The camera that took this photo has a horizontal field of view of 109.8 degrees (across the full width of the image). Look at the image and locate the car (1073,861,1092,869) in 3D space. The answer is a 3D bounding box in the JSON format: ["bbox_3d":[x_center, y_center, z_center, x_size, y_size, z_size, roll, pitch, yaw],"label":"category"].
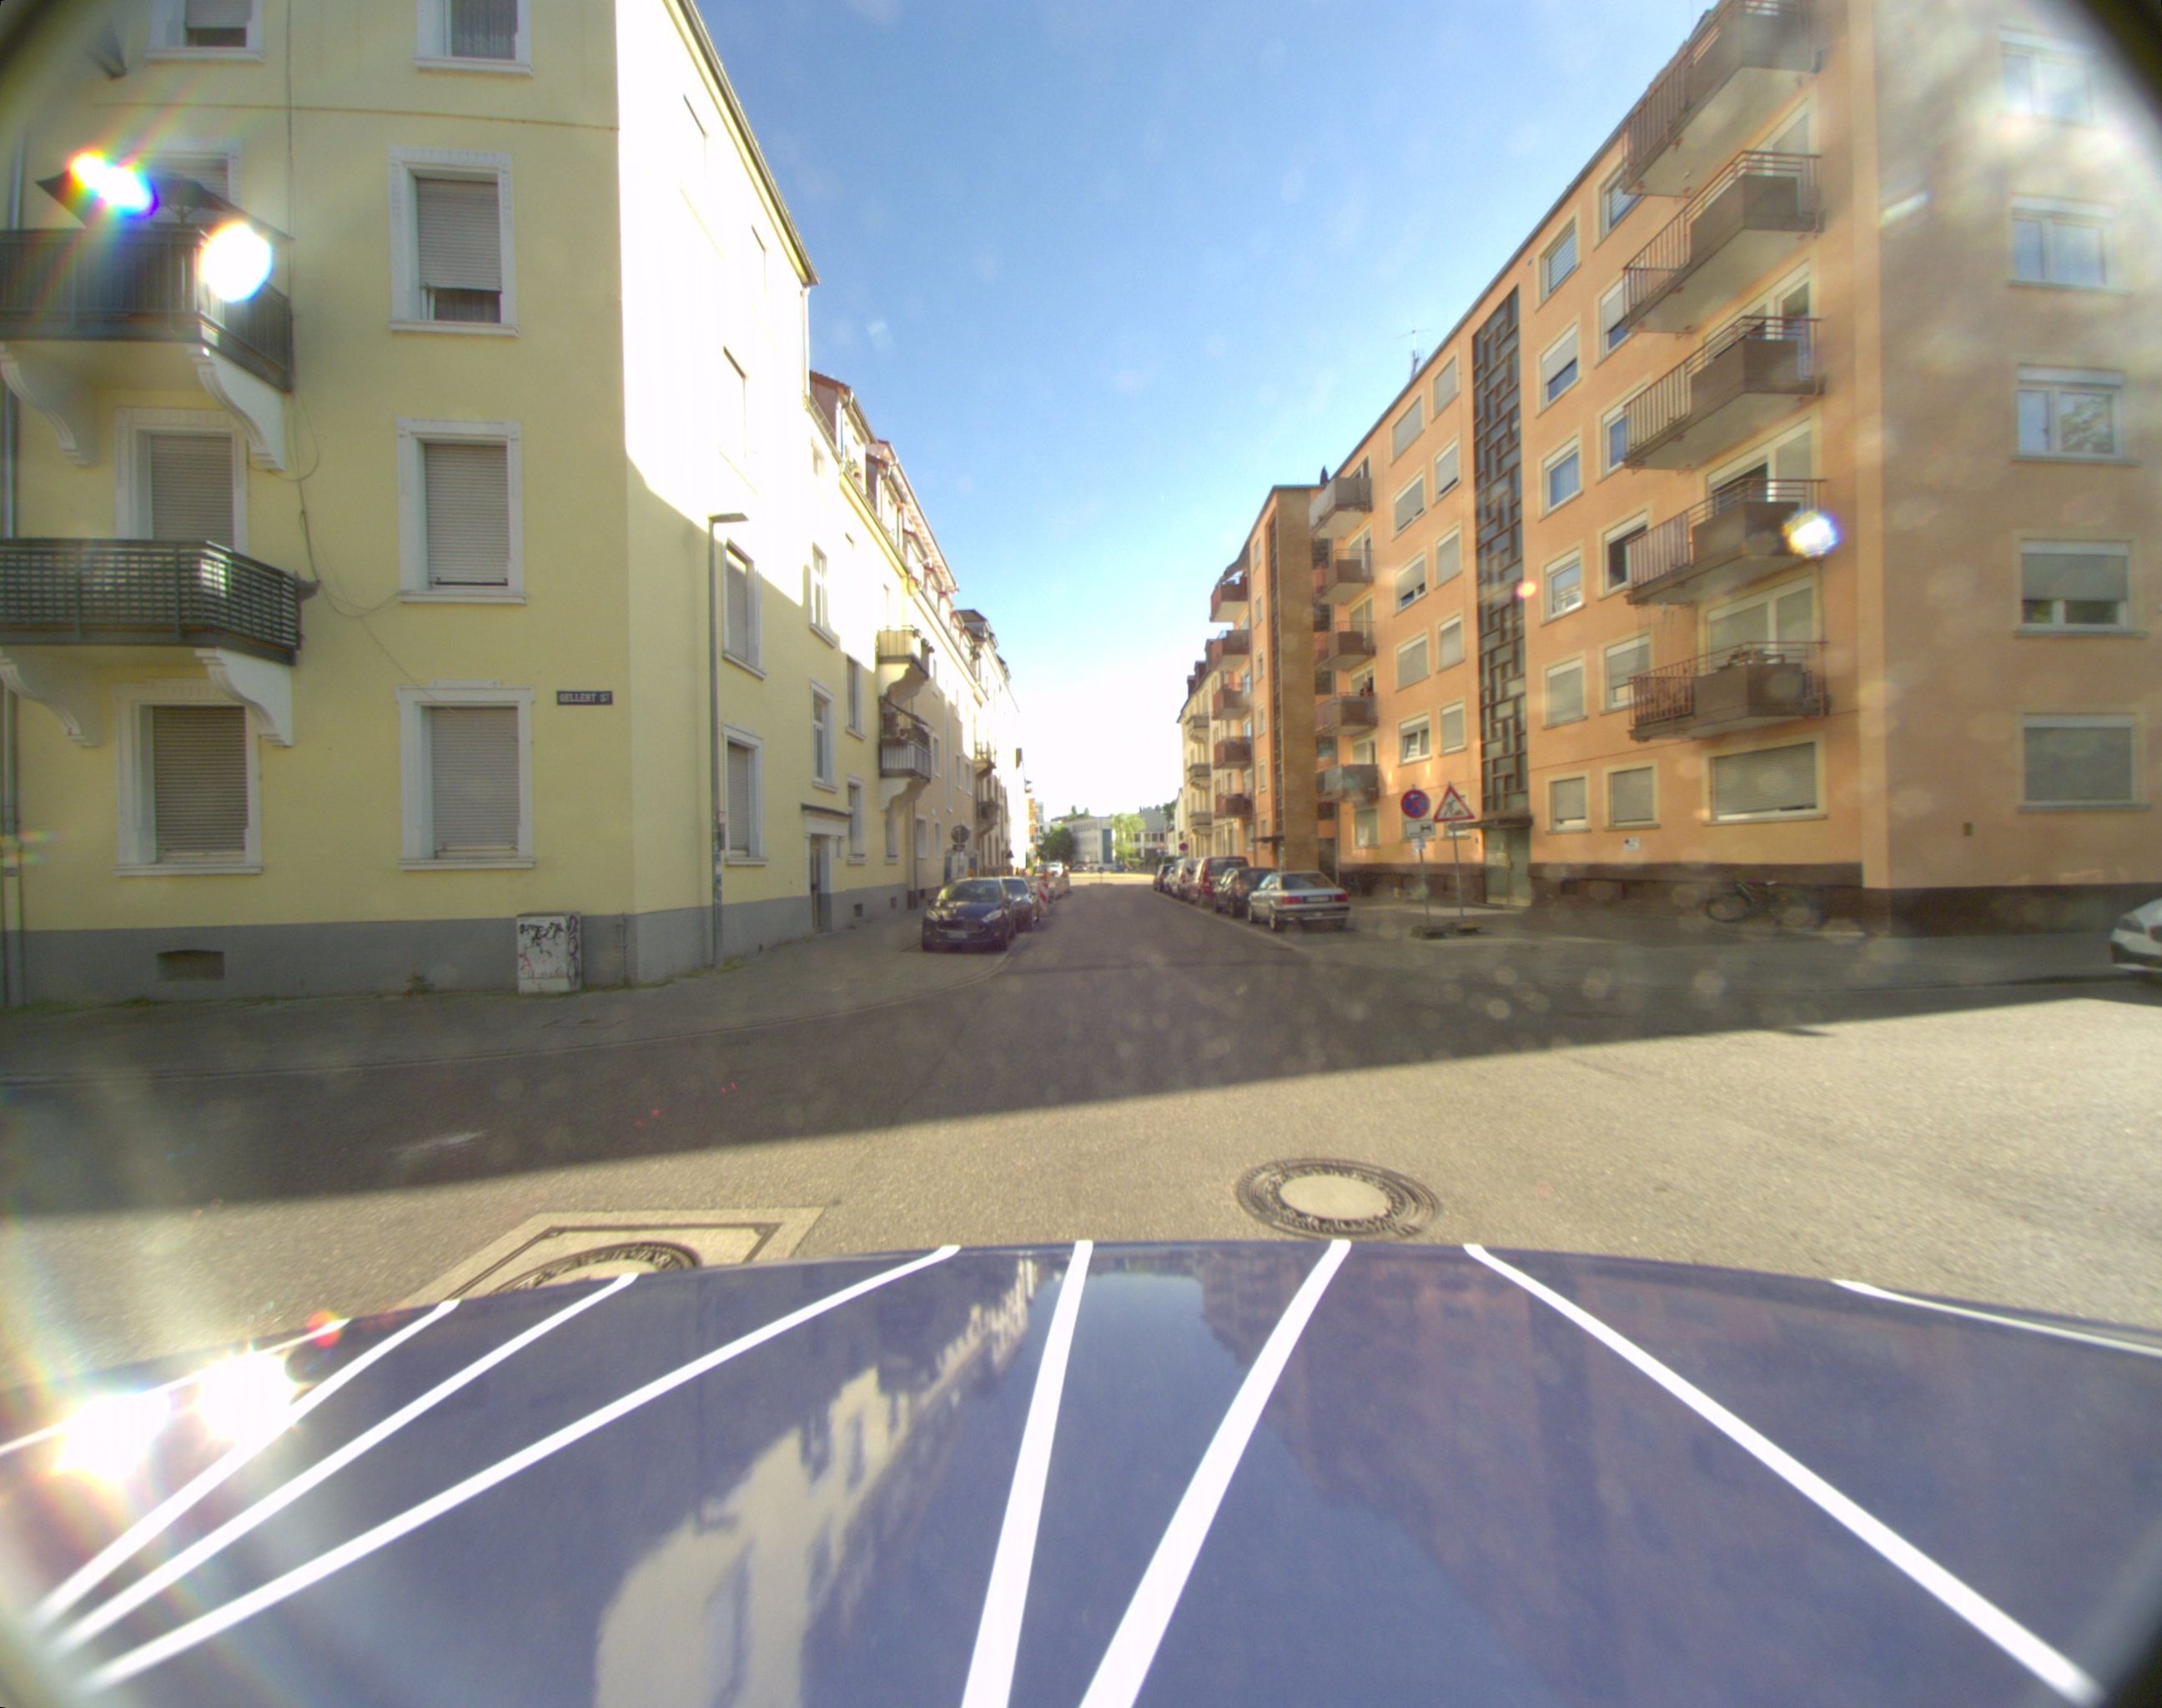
[{"bbox_3d":[0.347,2.307,156.687,2.141,1.604,4.827,-3,0,-22],"label":"car"}]

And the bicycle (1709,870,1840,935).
[{"bbox_3d":[12.518,0.841,13.798,0.505,1.057,1.892,-4,0,-4],"label":"bicycle"}]

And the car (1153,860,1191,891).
[{"bbox_3d":[5.446,1.250,45.930,1.767,1.760,4.294,-2,0,0],"label":"car"}]

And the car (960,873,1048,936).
[{"bbox_3d":[-2.056,1.335,21.611,1.805,1.462,5.113,1,-1,2],"label":"car"}]

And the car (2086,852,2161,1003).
[{"bbox_3d":[13.580,0.725,7.900,4.447,1.583,1.726,-1,-1,-6],"label":"car"}]

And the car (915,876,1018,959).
[{"bbox_3d":[-2.334,1.269,16.407,1.767,1.462,4.084,1,-1,-3],"label":"car"}]

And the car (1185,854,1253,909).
[{"bbox_3d":[5.297,1.005,29.781,1.767,1.914,4.935,-2,0,0],"label":"car"}]

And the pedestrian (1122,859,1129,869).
[{"bbox_3d":[7.773,1.785,132.303,0.820,1.695,0.996,-2,0,-16],"label":"pedestrian"}]

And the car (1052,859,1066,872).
[{"bbox_3d":[-3.569,1.891,123.120,1.998,2.001,4.798,2,0,2],"label":"car"}]

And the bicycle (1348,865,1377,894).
[{"bbox_3d":[11.229,1.012,30.394,0.342,1.107,1.762,-1,0,-5],"label":"bicycle"}]

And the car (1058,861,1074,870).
[{"bbox_3d":[-3.168,2.426,158.588,1.882,1.685,4.267,-1,-1,-20],"label":"car"}]

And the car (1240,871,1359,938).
[{"bbox_3d":[5.314,1.168,19.090,1.767,1.369,4.479,-2,0,1],"label":"car"}]

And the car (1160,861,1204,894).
[{"bbox_3d":[5.414,1.223,41.281,1.767,1.611,4.295,-2,0,0],"label":"car"}]

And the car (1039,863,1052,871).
[{"bbox_3d":[-7.238,2.583,153.209,1.760,1.445,3.995,3,-1,-15],"label":"car"}]

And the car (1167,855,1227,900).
[{"bbox_3d":[5.358,1.049,35.684,1.980,1.914,5.309,-2,0,0],"label":"car"}]

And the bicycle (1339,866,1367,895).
[{"bbox_3d":[10.844,1.026,30.349,0.342,1.107,1.762,-1,0,-5],"label":"bicycle"}]

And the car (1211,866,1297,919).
[{"bbox_3d":[5.347,1.153,23.989,1.767,1.493,4.000,-1,0,-1],"label":"car"}]
